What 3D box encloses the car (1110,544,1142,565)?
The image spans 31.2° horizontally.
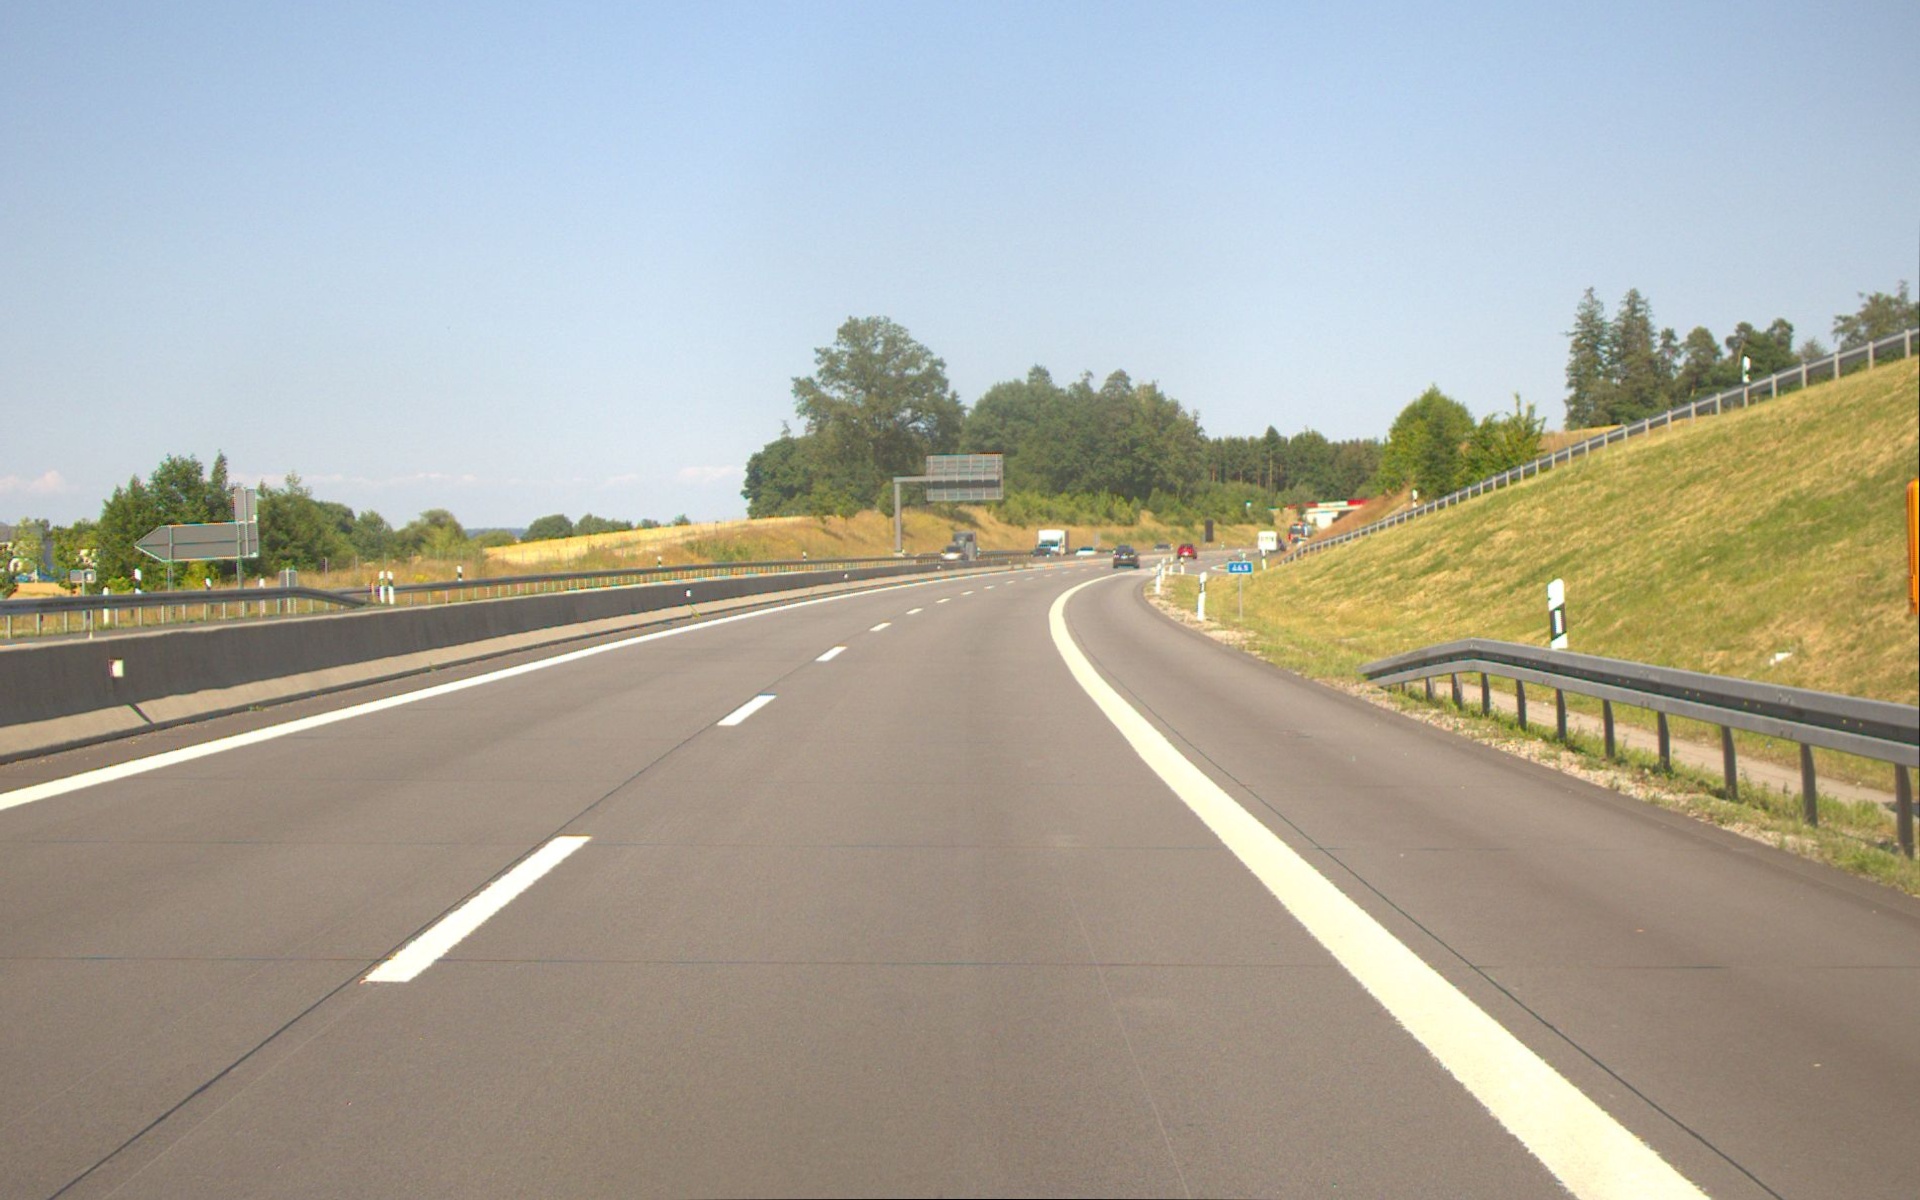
[{"bbox_3d":[11.930,-3.303,247.481,1.994,1.415,3.999,-2,1,7],"label":"car"}]
